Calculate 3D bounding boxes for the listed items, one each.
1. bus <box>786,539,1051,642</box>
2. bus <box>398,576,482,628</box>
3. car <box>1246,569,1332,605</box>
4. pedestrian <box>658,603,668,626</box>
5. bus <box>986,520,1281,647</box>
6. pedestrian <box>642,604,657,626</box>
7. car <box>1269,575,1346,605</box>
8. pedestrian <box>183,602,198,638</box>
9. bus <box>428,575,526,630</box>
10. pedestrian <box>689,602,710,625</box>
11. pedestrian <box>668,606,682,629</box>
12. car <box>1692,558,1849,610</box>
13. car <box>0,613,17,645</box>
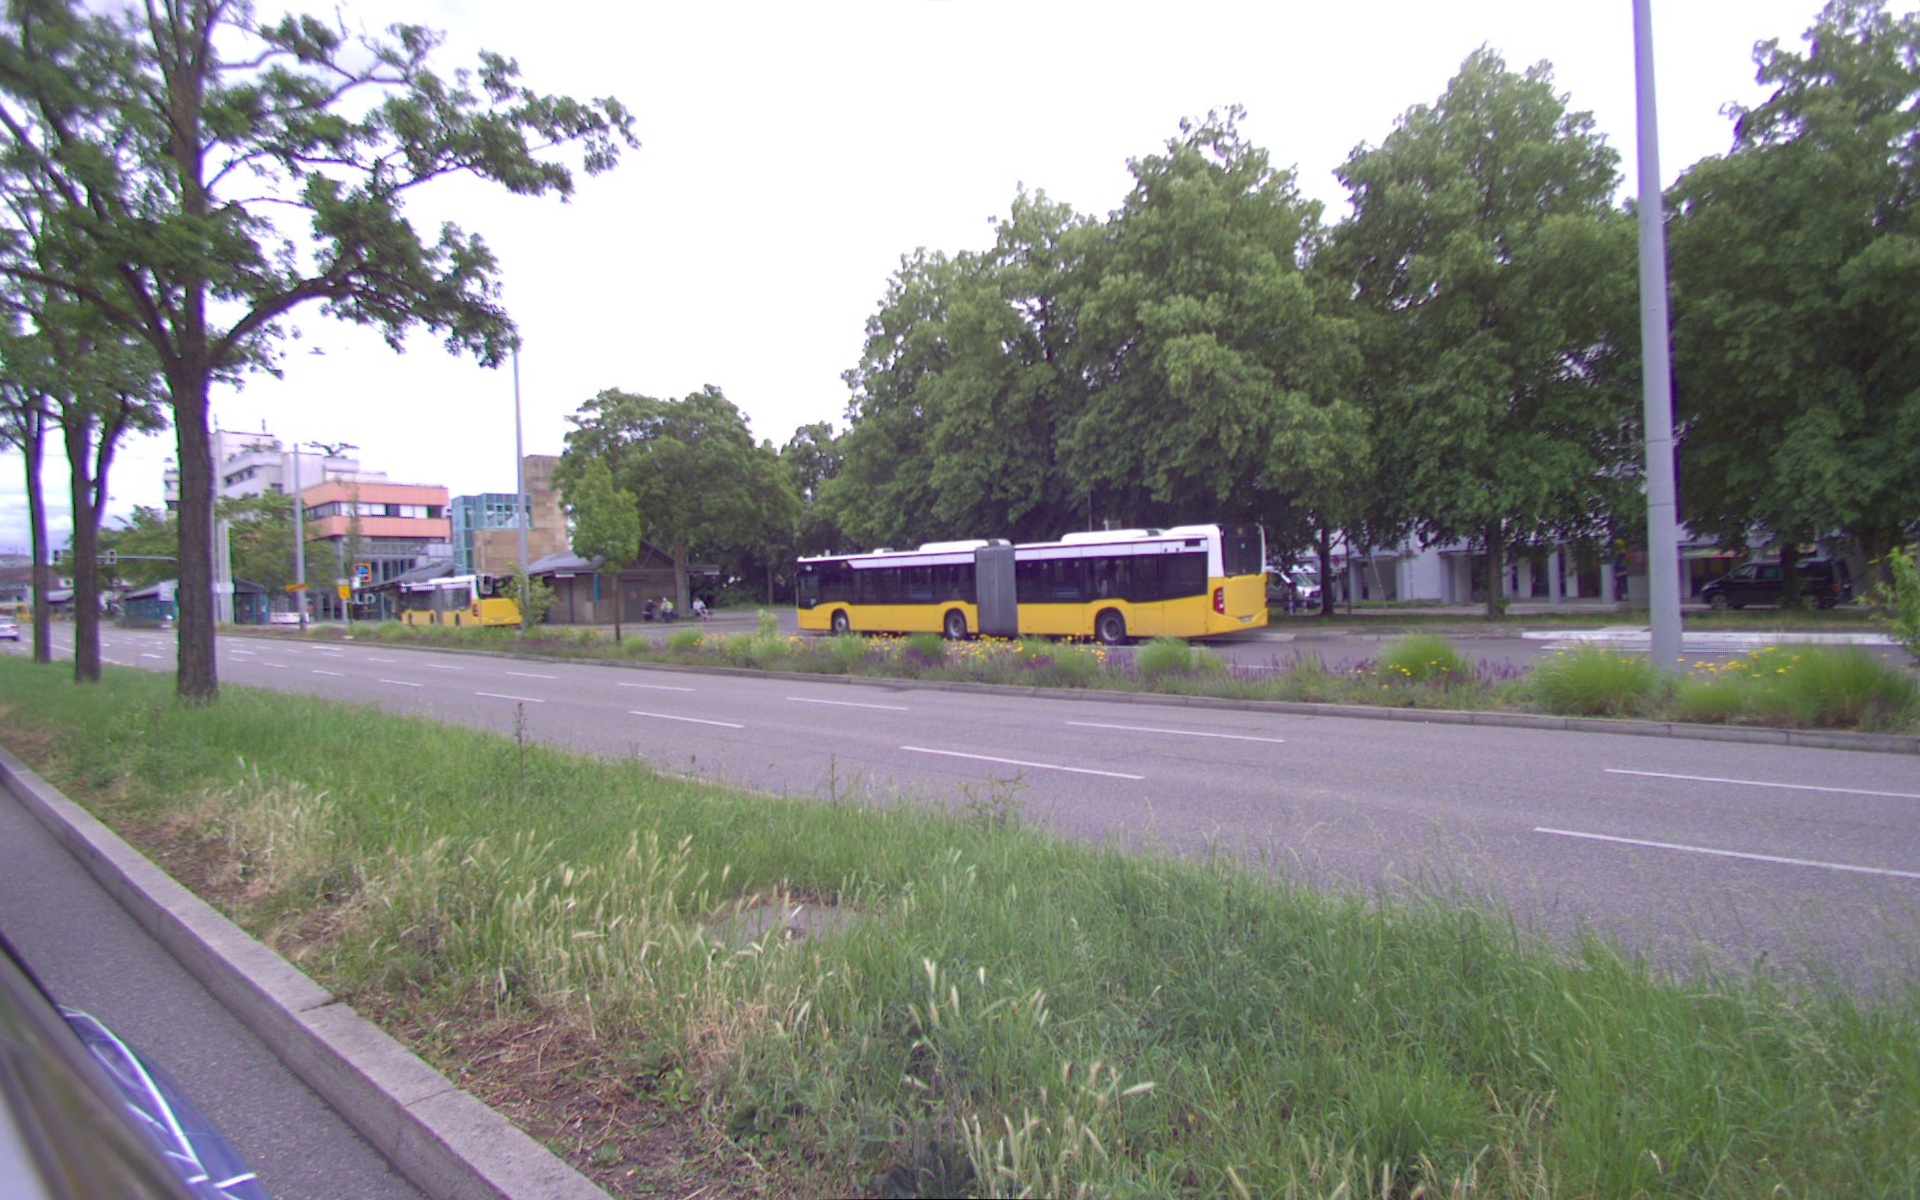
[{"bbox_3d":[-1.785,-0.211,34.658,2.848,3.025,10.401,-1,0,-44],"label":"bus"},{"bbox_3d":[-32.903,0.197,63.817,2.846,3.025,9.191,-1,0,-39],"label":"bus"},{"bbox_3d":[17.000,-0.632,52.409,1.663,1.763,4.010,-1,0,-35],"label":"car"},{"bbox_3d":[-15.285,0.763,52.053,0.361,1.175,0.900,-1,0,-23],"label":"pedestrian"},{"bbox_3d":[4.544,-0.343,28.067,2.848,3.025,7.889,-1,0,-44],"label":"bus"},{"bbox_3d":[-16.487,0.784,53.718,0.589,1.171,0.745,-1,0,-30],"label":"pedestrian"},{"bbox_3d":[20.369,-0.568,59.468,1.751,1.652,4.012,-1,0,-31],"label":"car"},{"bbox_3d":[-60.079,1.537,79.040,0.889,2.809,1.150,-1,0,-36],"label":"pedestrian"},{"bbox_3d":[-27.331,0.172,56.980,2.846,2.830,9.192,-1,0,-39],"label":"bus"},{"bbox_3d":[-13.574,0.726,52.810,0.924,1.180,0.641,-1,0,41],"label":"pedestrian"},{"bbox_3d":[-14.705,0.901,52.194,0.589,1.171,0.745,-1,0,-23],"label":"pedestrian"},{"bbox_3d":[31.365,-0.572,39.298,1.758,1.861,4.429,-1,0,-35],"label":"car"},{"bbox_3d":[-61.695,1.869,64.737,4.001,2.029,1.703,-2,0,44],"label":"car"}]
